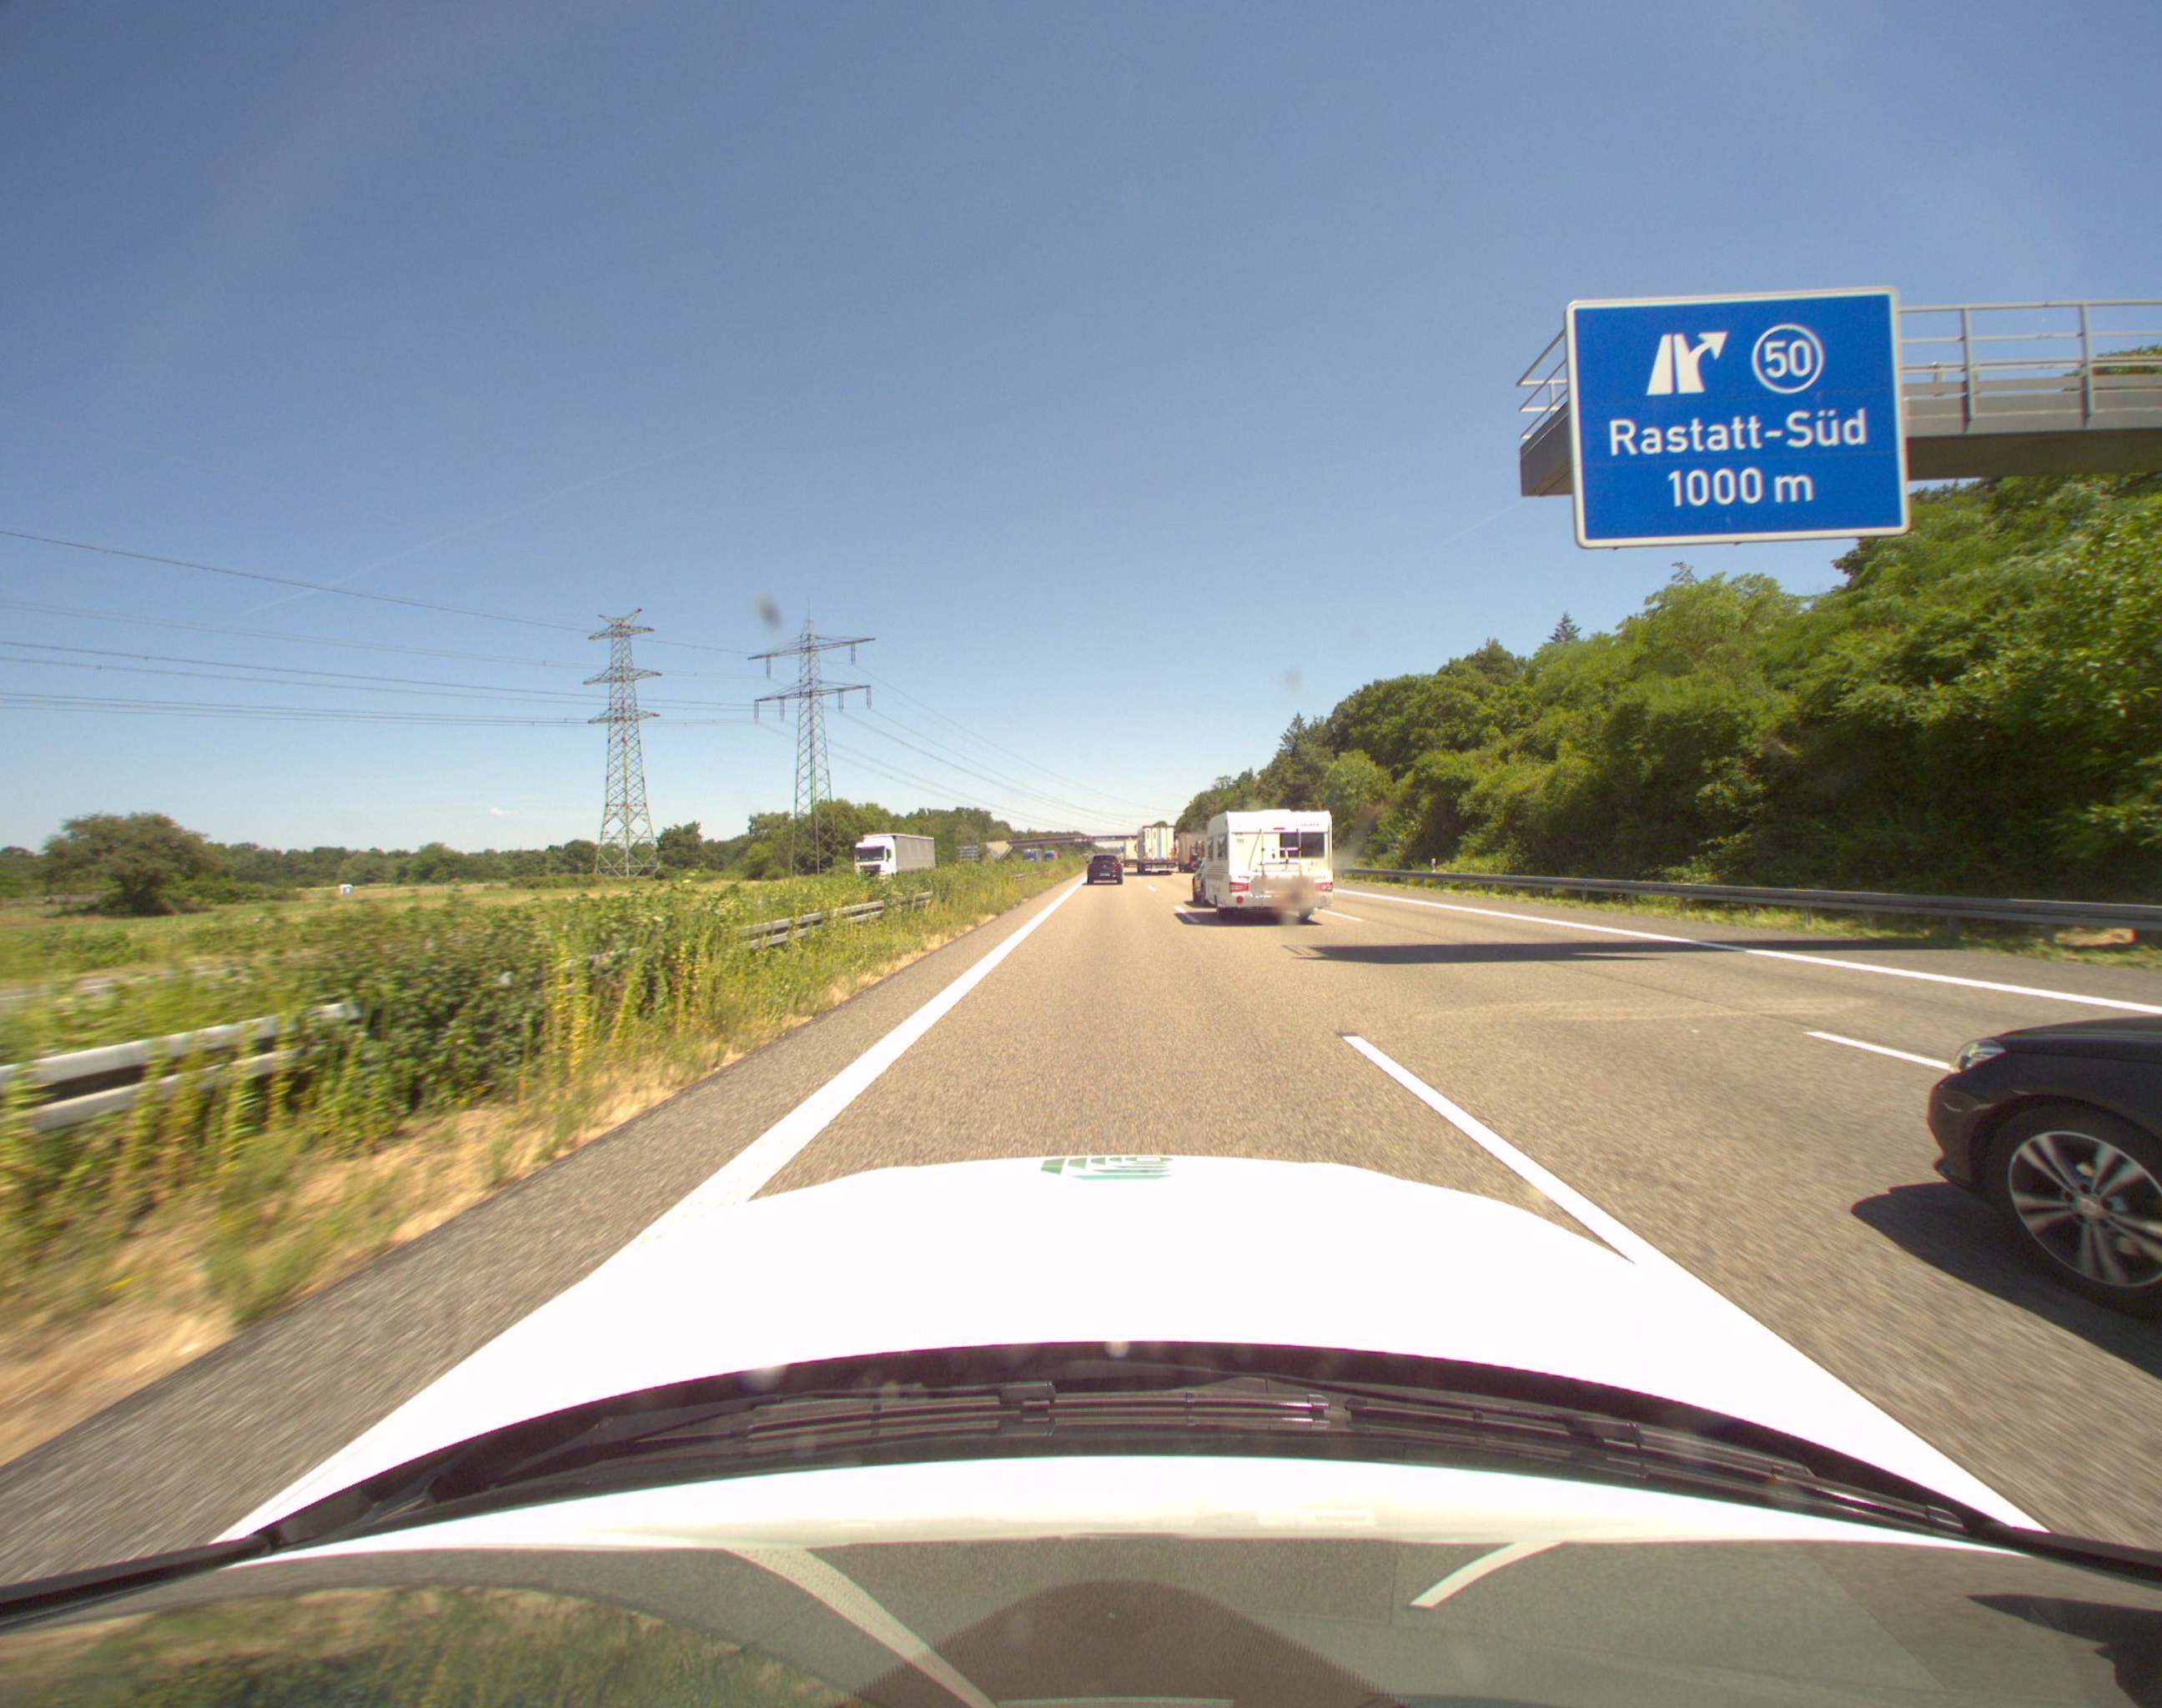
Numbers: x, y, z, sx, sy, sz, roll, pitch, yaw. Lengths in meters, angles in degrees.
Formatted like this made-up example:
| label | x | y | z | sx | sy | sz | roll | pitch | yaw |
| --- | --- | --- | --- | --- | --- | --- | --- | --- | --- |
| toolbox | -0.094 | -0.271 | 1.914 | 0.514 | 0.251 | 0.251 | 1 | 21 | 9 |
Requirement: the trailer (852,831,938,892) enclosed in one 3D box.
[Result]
| label | x | y | z | sx | sy | sz | roll | pitch | yaw |
| --- | --- | --- | --- | --- | --- | --- | --- | --- | --- |
| trailer | -15.325 | 0.568 | 68.808 | 3.356 | 4.408 | 14.324 | -4 | 0 | 1 |

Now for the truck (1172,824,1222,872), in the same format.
| label | x | y | z | sx | sy | sz | roll | pitch | yaw |
| --- | --- | --- | --- | --- | --- | --- | --- | --- | --- |
| truck | 10.962 | -0.497 | 77.965 | 3.557 | 4.245 | 11.657 | 0 | -1 | 2 |

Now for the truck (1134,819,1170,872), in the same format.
| label | x | y | z | sx | sy | sz | roll | pitch | yaw |
| --- | --- | --- | --- | --- | --- | --- | --- | --- | --- |
| truck | 6.703 | -0.749 | 77.842 | 3.075 | 4.885 | 6.601 | 0 | -1 | 2 |

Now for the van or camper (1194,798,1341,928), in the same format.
| label | x | y | z | sx | sy | sz | roll | pitch | yaw |
| --- | --- | --- | --- | --- | --- | --- | --- | --- | --- |
| van or camper | 4.394 | 0.190 | 20.487 | 2.429 | 2.675 | 6.353 | -2 | 0 | 2 |

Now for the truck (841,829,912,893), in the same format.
| label | x | y | z | sx | sy | sz | roll | pitch | yaw |
| --- | --- | --- | --- | --- | --- | --- | --- | --- | --- |
| truck | -15.505 | 0.509 | 62.310 | 3.355 | 4.408 | 6.559 | -3 | 0 | 2 |

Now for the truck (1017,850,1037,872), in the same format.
| label | x | y | z | sx | sy | sz | roll | pitch | yaw |
| --- | --- | --- | --- | --- | --- | --- | --- | --- | --- |
| truck | -11.283 | 1.480 | 170.656 | 3.076 | 4.407 | 6.804 | -4 | 0 | 2 |

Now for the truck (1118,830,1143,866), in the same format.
| label | x | y | z | sx | sy | sz | roll | pitch | yaw |
| --- | --- | --- | --- | --- | --- | --- | --- | --- | --- |
| truck | 7.394 | -0.851 | 123.556 | 3.498 | 5.166 | 10.263 | -1 | 0 | 2 |

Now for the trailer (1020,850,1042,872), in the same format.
| label | x | y | z | sx | sy | sz | roll | pitch | yaw |
| --- | --- | --- | --- | --- | --- | --- | --- | --- | --- |
| trailer | -10.942 | 1.481 | 179.109 | 3.076 | 4.407 | 14.238 | -4 | 0 | 2 |

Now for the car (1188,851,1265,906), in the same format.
| label | x | y | z | sx | sy | sz | roll | pitch | yaw |
| --- | --- | --- | --- | --- | --- | --- | --- | --- | --- |
| car | 4.536 | 0.711 | 26.016 | 1.871 | 1.612 | 4.706 | 0 | 0 | 3 |

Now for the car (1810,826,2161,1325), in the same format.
| label | x | y | z | sx | sy | sz | roll | pitch | yaw |
| --- | --- | --- | --- | --- | --- | --- | --- | --- | --- |
| car | 4.127 | 0.646 | 1.274 | 1.834 | 1.505 | 4.740 | -1 | 0 | 2 |

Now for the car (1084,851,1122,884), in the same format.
| label | x | y | z | sx | sy | sz | roll | pitch | yaw |
| --- | --- | --- | --- | --- | --- | --- | --- | --- | --- |
| car | 1.239 | 0.732 | 46.070 | 1.986 | 1.772 | 4.001 | -2 | 0 | 1 |

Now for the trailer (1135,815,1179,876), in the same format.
| label | x | y | z | sx | sy | sz | roll | pitch | yaw |
| --- | --- | --- | --- | --- | --- | --- | --- | --- | --- |
| trailer | 6.451 | -0.640 | 70.887 | 3.075 | 4.885 | 12.264 | 0 | -1 | 2 |
